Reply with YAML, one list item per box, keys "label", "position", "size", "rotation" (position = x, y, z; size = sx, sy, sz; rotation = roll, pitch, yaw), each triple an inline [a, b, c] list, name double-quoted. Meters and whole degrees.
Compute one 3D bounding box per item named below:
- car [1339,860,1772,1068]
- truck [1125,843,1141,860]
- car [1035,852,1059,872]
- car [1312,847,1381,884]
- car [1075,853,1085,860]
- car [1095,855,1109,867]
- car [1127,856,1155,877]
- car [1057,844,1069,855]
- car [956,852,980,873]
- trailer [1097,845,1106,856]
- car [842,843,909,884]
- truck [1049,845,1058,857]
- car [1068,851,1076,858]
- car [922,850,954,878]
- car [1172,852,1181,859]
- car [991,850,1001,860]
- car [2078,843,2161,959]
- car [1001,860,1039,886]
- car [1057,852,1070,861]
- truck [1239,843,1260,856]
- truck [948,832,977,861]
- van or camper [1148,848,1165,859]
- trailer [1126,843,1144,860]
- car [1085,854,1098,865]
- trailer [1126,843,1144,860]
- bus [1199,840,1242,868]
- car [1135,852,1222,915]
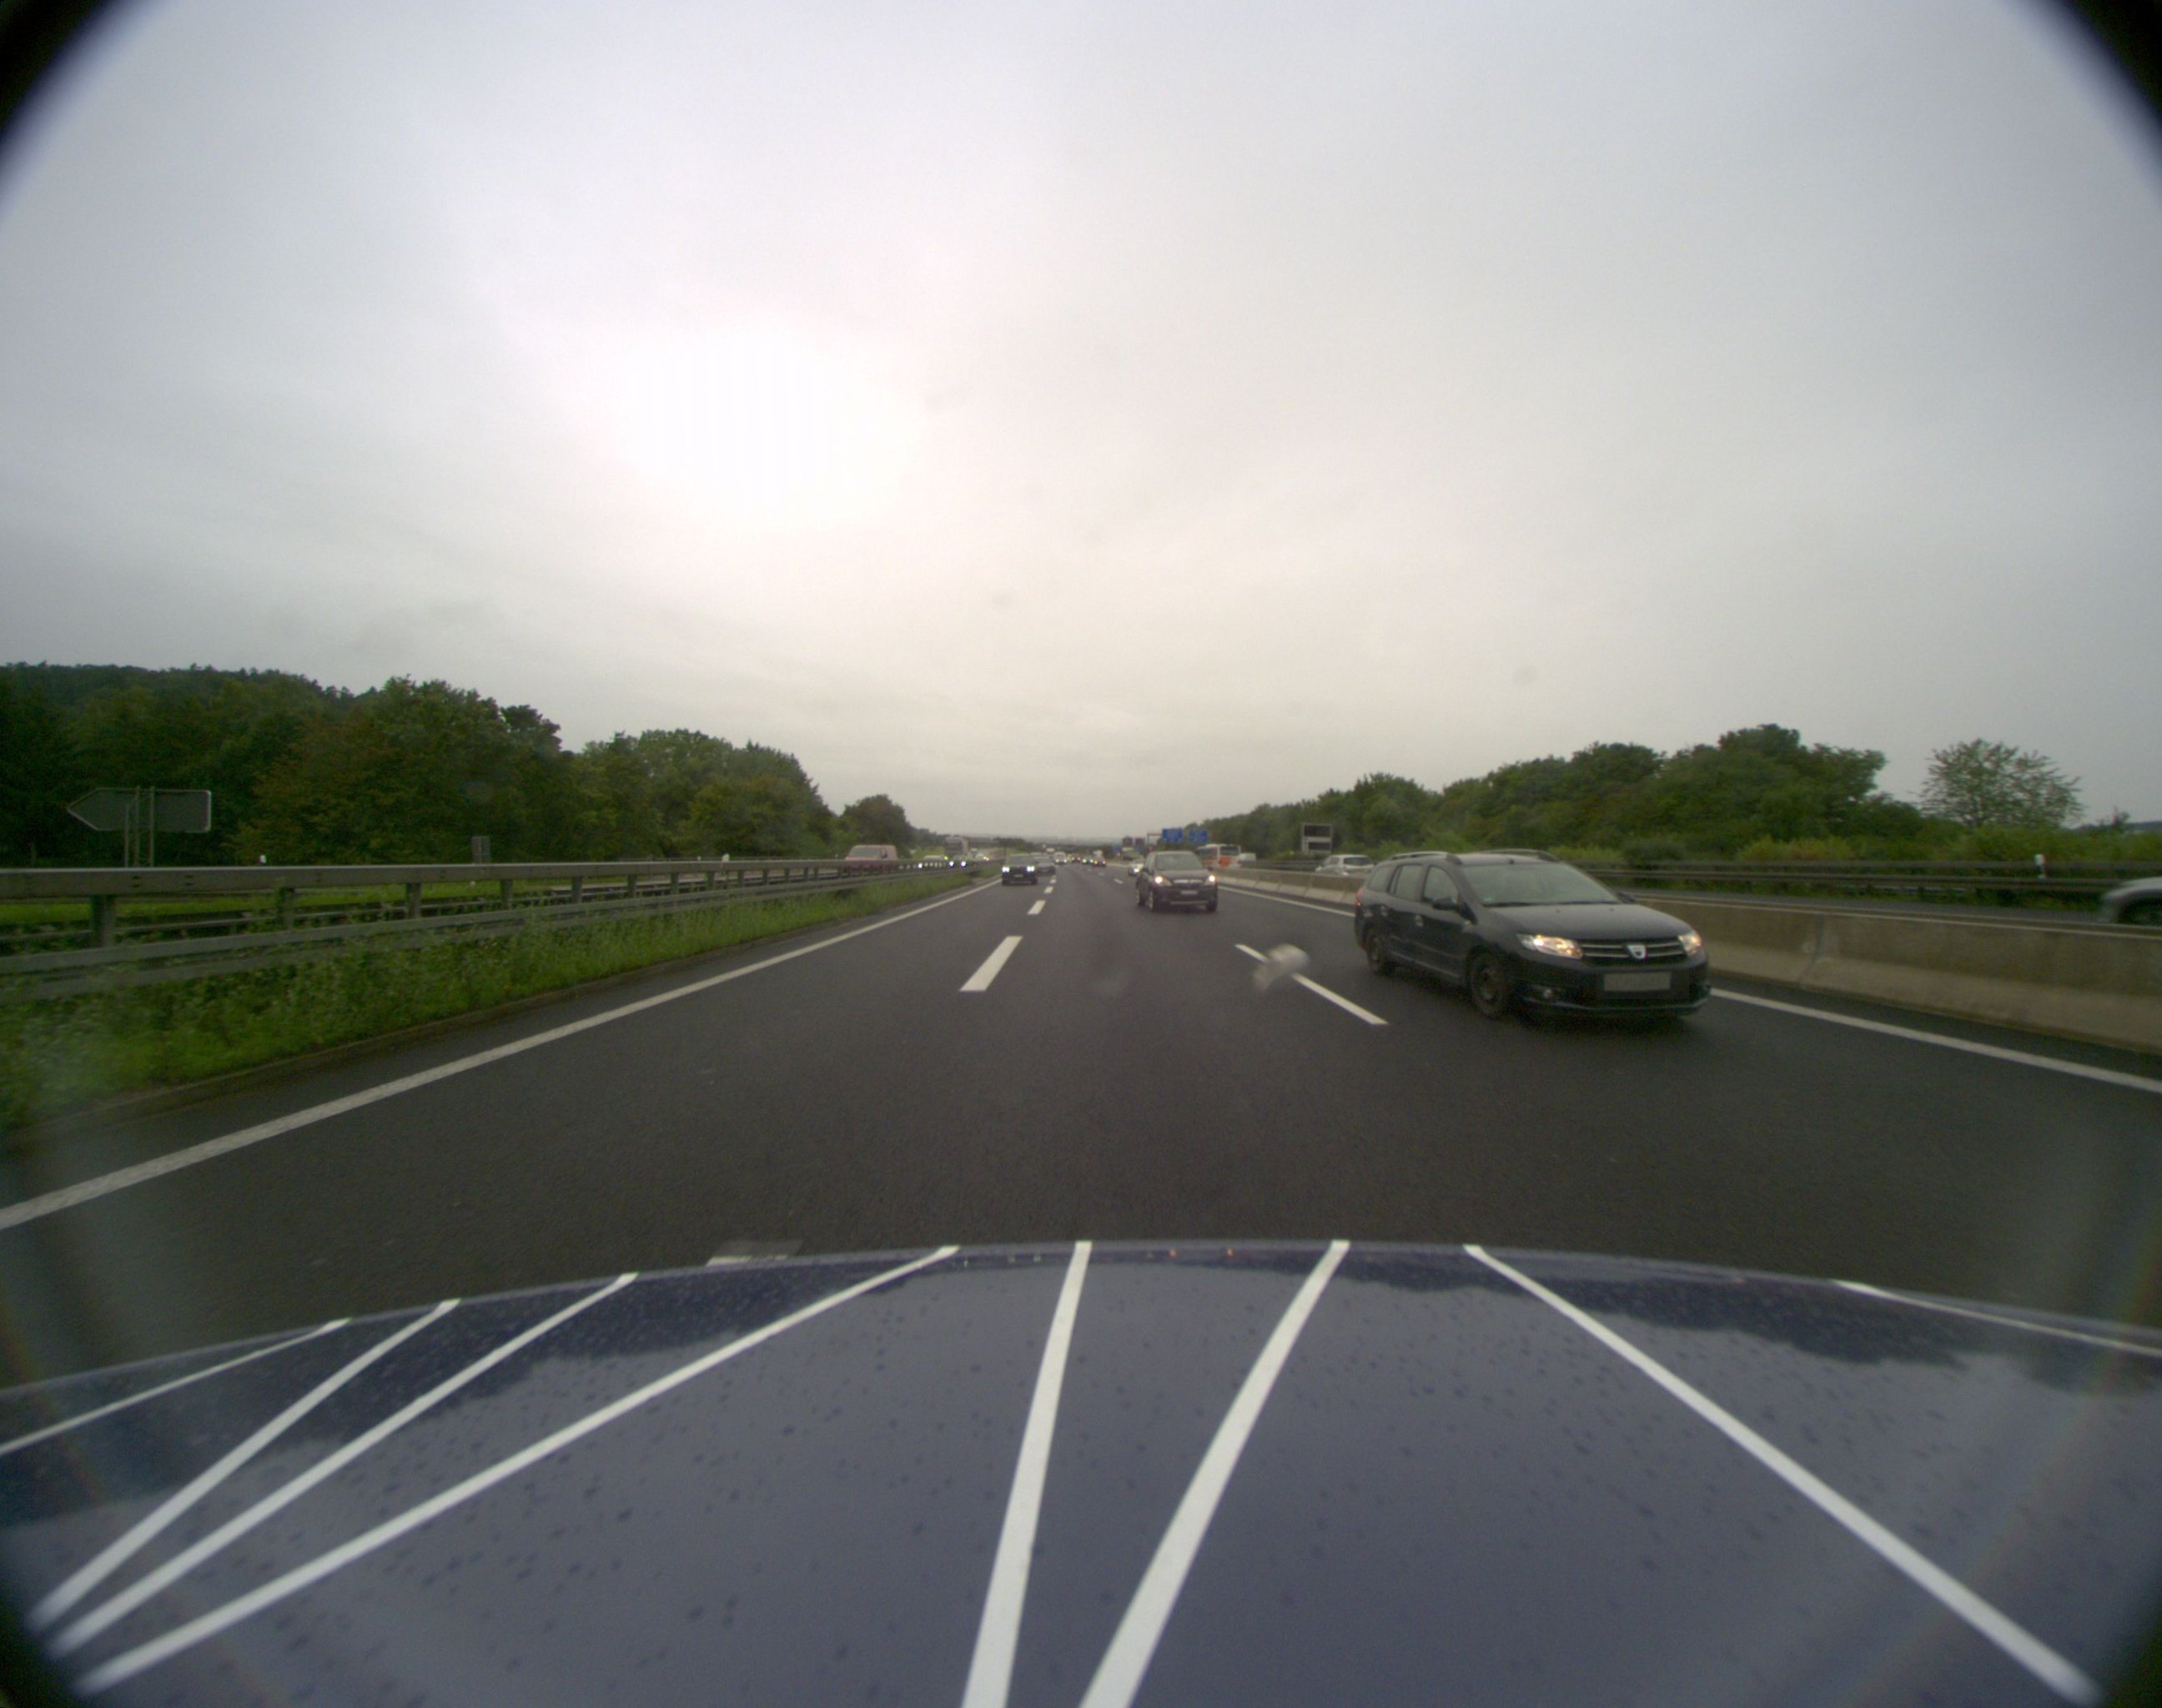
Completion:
- label: "car"
  position: [4.378, 0.854, 8.055]
  size: [1.726, 1.481, 4.566]
  rotation: [0, 1, 0]
- label: "truck"
  position: [11.788, -0.633, 172.143]
  size: [2.895, 3.727, 5.942]
  rotation: [0, 1, -2]
- label: "car"
  position: [-2.719, 0.623, 62.254]
  size: [1.886, 1.519, 3.999]
  rotation: [0, 1, -2]
- label: "car"
  position: [13.221, 0.518, 38.073]
  size: [1.998, 1.701, 4.302]
  rotation: [0, 1, 1]
- label: "car"
  position: [-0.178, 0.554, 158.224]
  size: [1.726, 1.481, 4.565]
  rotation: [0, 1, -4]
- label: "car"
  position: [2.783, 0.927, 101.119]
  size: [1.726, 1.397, 4.566]
  rotation: [0, 1, -1]
- label: "car"
  position: [4.439, 0.898, 56.858]
  size: [1.726, 1.481, 4.566]
  rotation: [0, 1, -1]
- label: "car"
  position: [-3.254, -0.873, 137.214]
  size: [2.016, 1.994, 4.565]
  rotation: [0, 1, -4]
- label: "car"
  position: [-11.414, 0.875, 76.952]
  size: [1.752, 2.002, 4.497]
  rotation: [0, 1, 0]
- label: "trailer"
  position: [7.216, -1.399, 268.651]
  size: [2.643, 3.715, 10.807]
  rotation: [0, 1, -1]
- label: "car"
  position: [-10.693, 0.452, 39.996]
  size: [2.130, 2.002, 5.076]
  rotation: [0, 1, 0]
- label: "truck"
  position: [-9.045, -0.986, 254.126]
  size: [2.799, 3.878, 10.025]
  rotation: [0, 1, -1]
- label: "car"
  position: [-2.218, 0.075, 180.992]
  size: [1.726, 1.481, 4.565]
  rotation: [0, 1, -4]
- label: "car"
  position: [-10.971, 0.736, 58.705]
  size: [1.752, 2.002, 4.497]
  rotation: [0, 1, -2]
- label: "car"
  position: [25.429, 0.392, 202.846]
  size: [1.805, 1.776, 4.411]
  rotation: [0, 0, 0]
- label: "car"
  position: [-17.407, 0.143, 155.737]
  size: [1.752, 2.002, 4.496]
  rotation: [0, 1, -4]
- label: "car"
  position: [16.243, 0.676, 9.359]
  size: [1.896, 1.640, 4.602]
  rotation: [0, 1, 1]
- label: "car"
  position: [-3.471, 1.046, 44.057]
  size: [1.867, 1.349, 4.566]
  rotation: [0, 1, -1]
- label: "car"
  position: [-3.018, 0.481, 130.929]
  size: [1.920, 1.481, 4.565]
  rotation: [0, 1, -4]
- label: "truck"
  position: [29.623, -0.824, 133.697]
  size: [2.030, 2.228, 6.157]
  rotation: [0, 0, -4]
- label: "truck"
  position: [-17.011, -1.074, 109.760]
  size: [2.799, 3.878, 10.025]
  rotation: [0, 1, -2]
- label: "van or camper"
  position: [10.968, -0.065, 110.137]
  size: [1.753, 1.439, 4.584]
  rotation: [0, 1, -3]
- label: "trailer"
  position: [11.860, -0.589, 168.236]
  size: [2.911, 3.727, 8.924]
  rotation: [0, 1, -2]
- label: "car"
  position: [1.722, 0.897, 127.254]
  size: [1.782, 1.669, 4.565]
  rotation: [0, 1, -3]
- label: "trailer"
  position: [11.860, -0.589, 168.236]
  size: [2.911, 3.727, 8.924]
  rotation: [0, 1, -2]
- label: "bus"
  position: [15.909, -0.087, 87.705]
  size: [2.705, 2.941, 11.895]
  rotation: [0, 1, -1]
- label: "car"
  position: [2.671, 0.752, 21.548]
  size: [1.813, 1.571, 3.833]
  rotation: [0, 1, -3]
